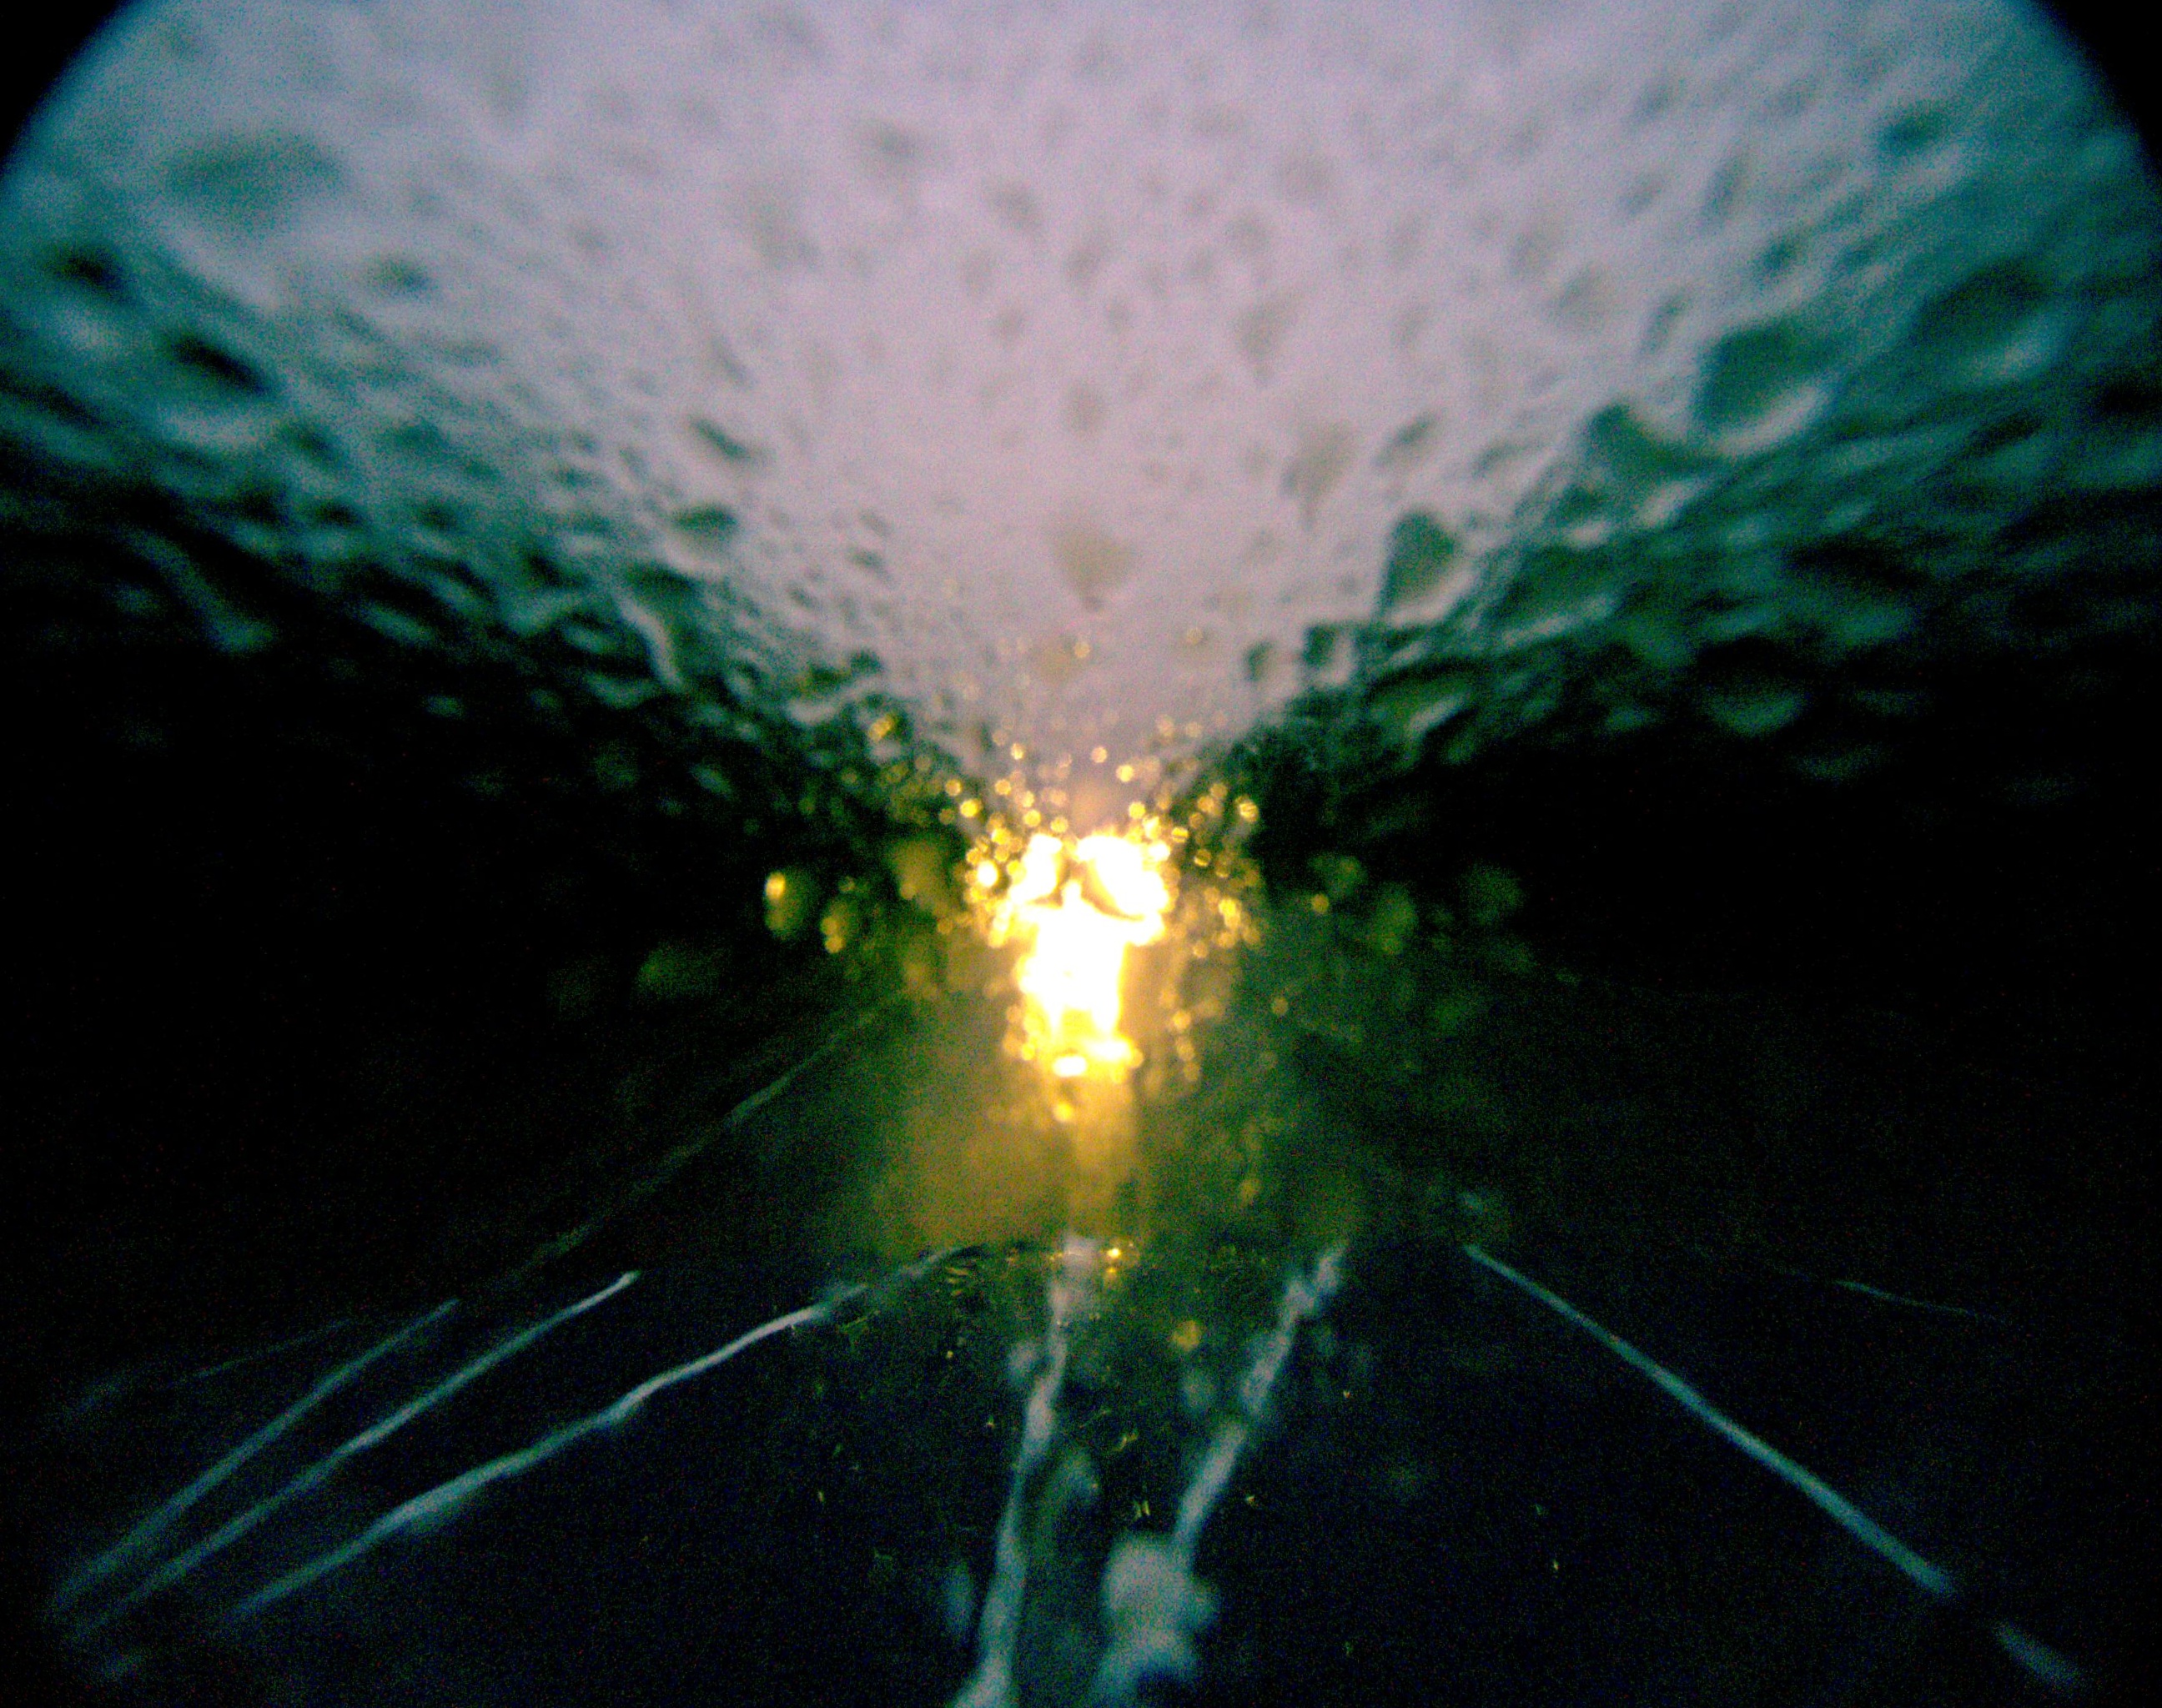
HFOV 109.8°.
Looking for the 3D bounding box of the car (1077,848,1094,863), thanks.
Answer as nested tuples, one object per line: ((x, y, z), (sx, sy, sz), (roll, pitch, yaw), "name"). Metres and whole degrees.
((0.527, 0.142, 93.893), (1.998, 1.752, 4.370), (-2, 1, 1), "car")

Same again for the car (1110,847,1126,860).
((5.071, -0.071, 104.044), (1.877, 1.597, 4.195), (-1, 0, 0), "car")

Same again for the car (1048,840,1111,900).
((0.041, 0.425, 23.896), (1.572, 1.701, 4.001), (-2, 1, 5), "car")
